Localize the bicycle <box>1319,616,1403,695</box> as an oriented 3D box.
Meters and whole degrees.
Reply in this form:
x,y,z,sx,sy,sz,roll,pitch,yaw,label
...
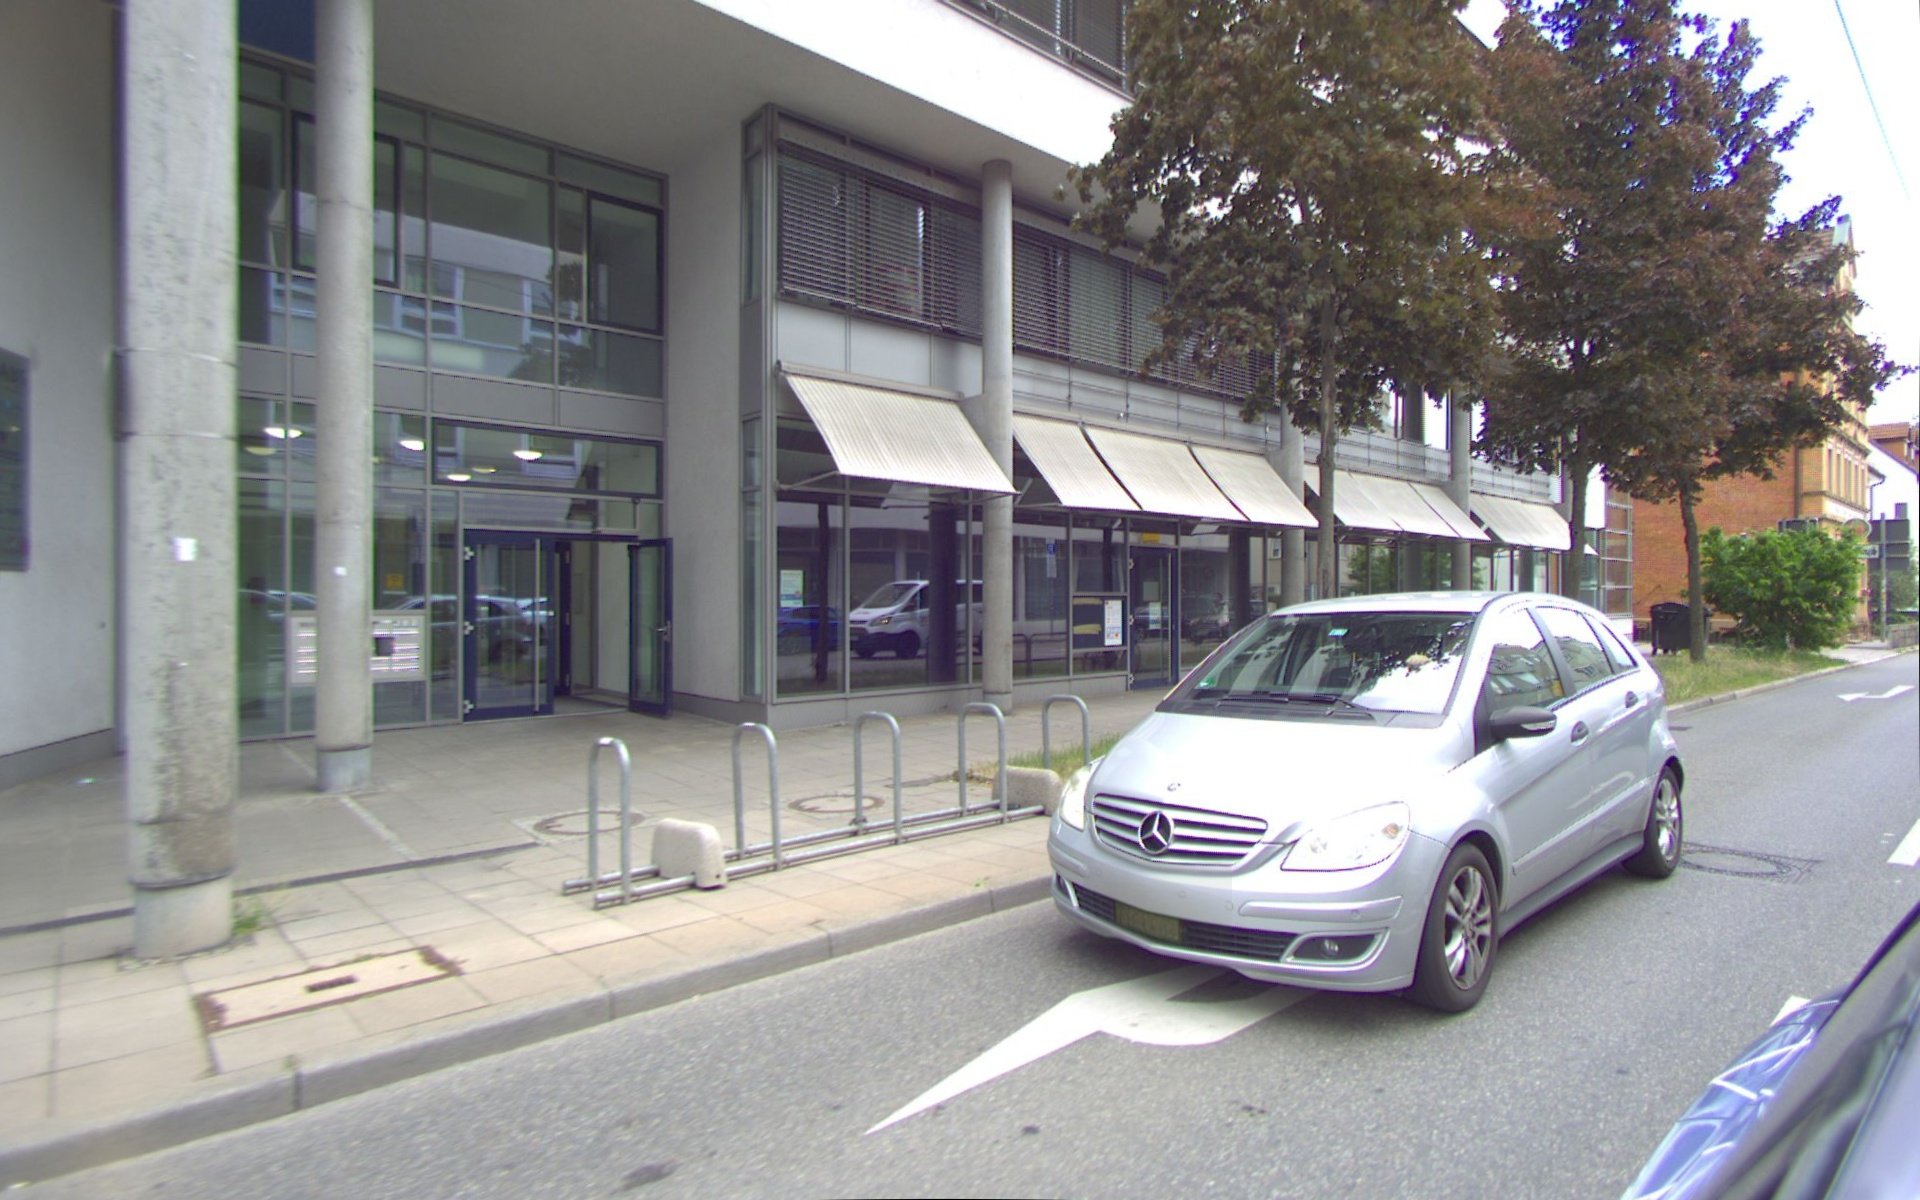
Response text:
x,y,z,sx,sy,sz,roll,pitch,yaw,label
6.128,0.815,15.420,1.993,1.100,0.361,0,-1,-43,bicycle

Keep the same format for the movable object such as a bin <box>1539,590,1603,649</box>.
x,y,z,sx,sy,sz,roll,pitch,yaw,label
16.415,0.499,27.188,1.310,1.484,1.123,0,2,-43,movable object such as a bin

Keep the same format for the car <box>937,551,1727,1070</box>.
x,y,z,sx,sy,sz,roll,pitch,yaw,label
2.238,0.662,5.327,4.492,1.566,1.996,0,-2,-42,car

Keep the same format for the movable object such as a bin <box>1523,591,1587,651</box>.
x,y,z,sx,sy,sz,roll,pitch,yaw,label
15.445,0.511,26.265,1.310,1.484,1.099,0,2,-43,movable object such as a bin

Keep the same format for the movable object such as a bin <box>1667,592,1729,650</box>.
x,y,z,sx,sy,sz,roll,pitch,yaw,label
20.014,0.550,27.455,1.310,1.484,1.099,0,2,-43,movable object such as a bin

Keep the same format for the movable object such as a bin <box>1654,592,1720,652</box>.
x,y,z,sx,sy,sz,roll,pitch,yaw,label
19.047,0.557,26.513,1.389,1.484,1.129,0,2,-43,movable object such as a bin
